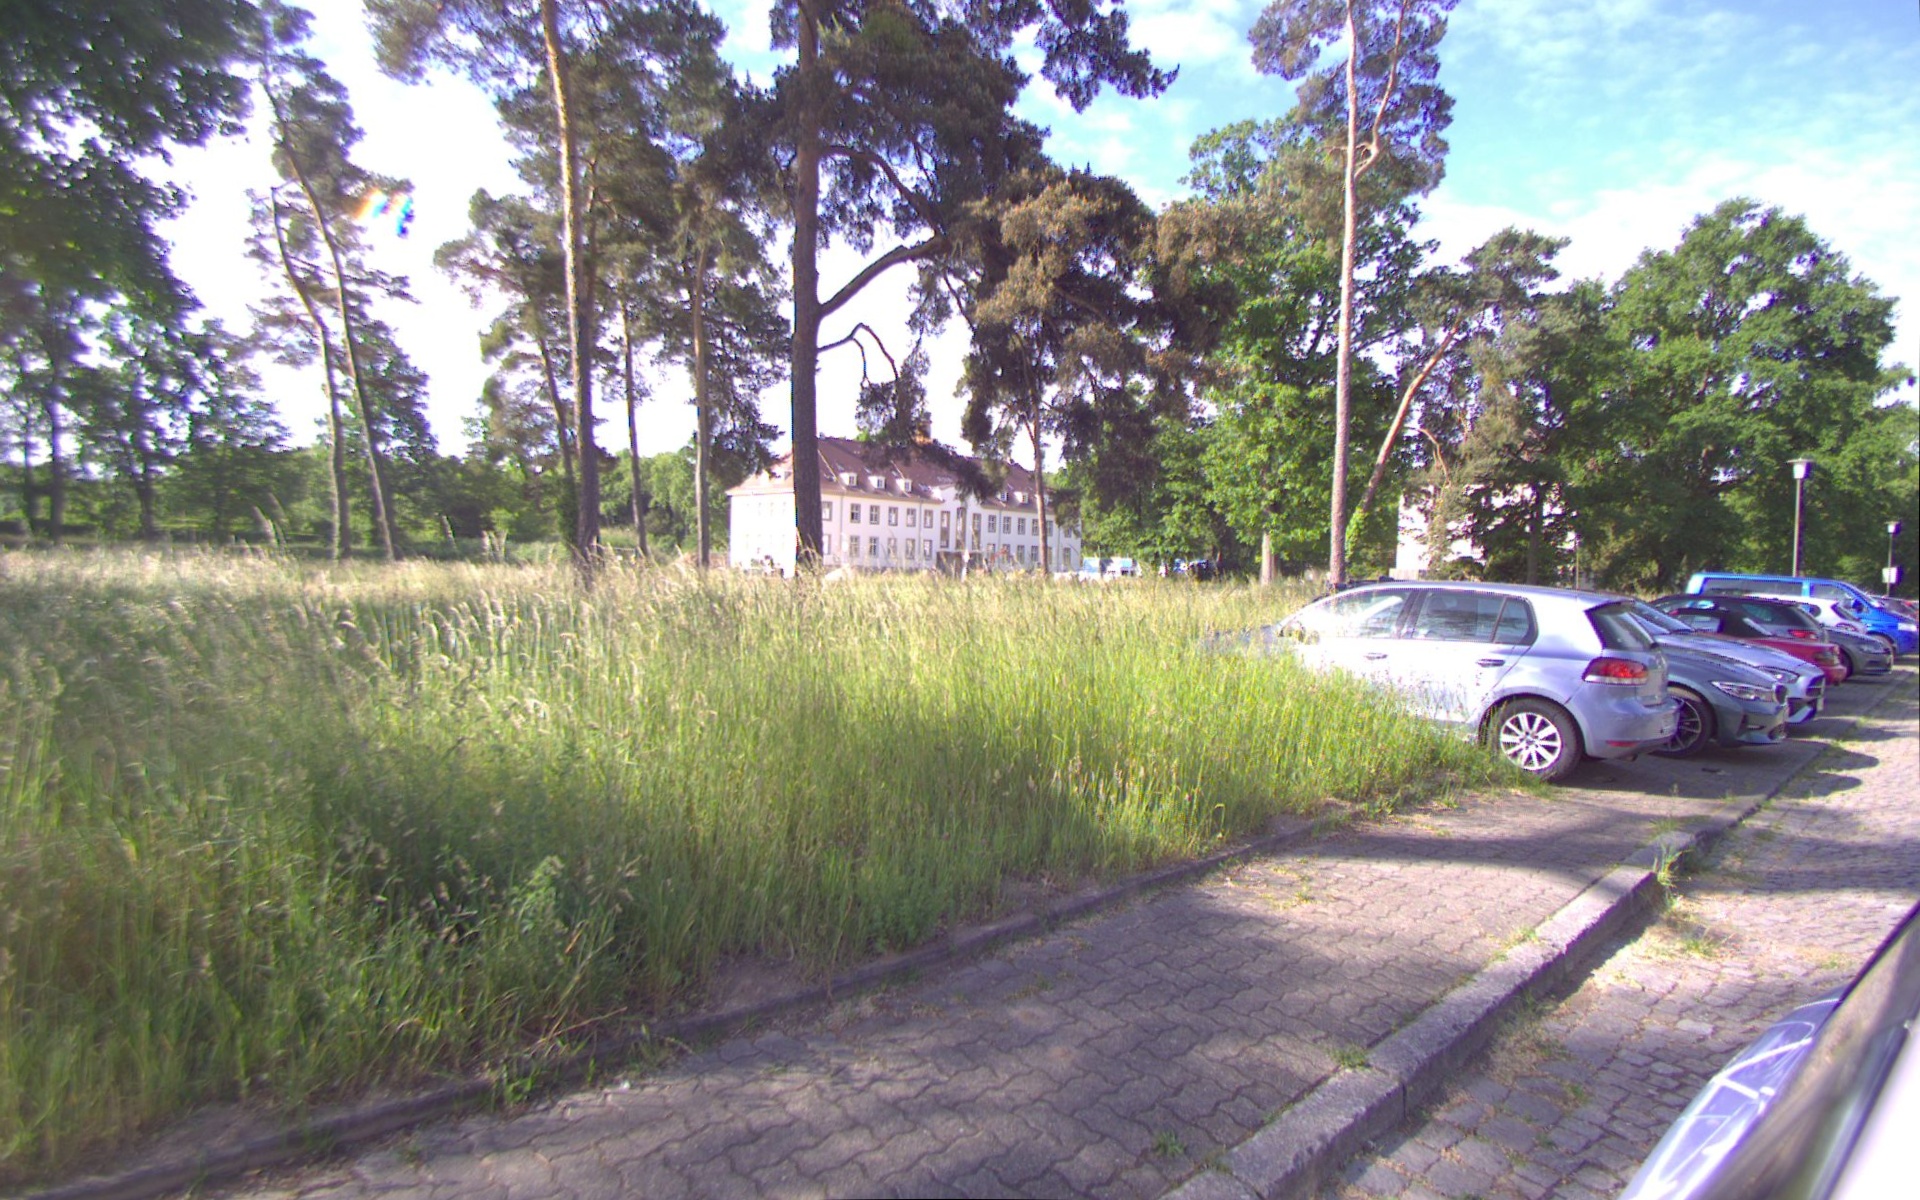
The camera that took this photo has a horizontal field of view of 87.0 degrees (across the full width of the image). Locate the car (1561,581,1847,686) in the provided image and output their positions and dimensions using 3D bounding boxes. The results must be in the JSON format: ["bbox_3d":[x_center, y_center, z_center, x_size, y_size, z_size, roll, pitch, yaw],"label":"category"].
[{"bbox_3d":[12.824,0.487,17.608,1.523,1.508,3.775,0,3,-43],"label":"car"}]

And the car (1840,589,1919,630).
[{"bbox_3d":[41.970,0.421,45.069,1.725,1.763,3.995,0,1,-40],"label":"car"}]

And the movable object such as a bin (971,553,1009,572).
[{"bbox_3d":[3.808,-4.699,127.205,1.994,2.351,4.909,3,3,43],"label":"movable object such as a bin"}]

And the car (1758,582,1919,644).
[{"bbox_3d":[27.312,0.360,31.164,1.725,1.660,3.996,0,3,-40],"label":"car"}]

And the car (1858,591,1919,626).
[{"bbox_3d":[45.533,0.381,48.137,1.725,1.635,3.996,-1,1,-38],"label":"car"}]

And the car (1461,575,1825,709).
[{"bbox_3d":[9.416,0.469,14.191,1.633,1.410,3.914,0,4,-43],"label":"car"}]

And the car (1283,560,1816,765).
[{"bbox_3d":[5.948,0.456,10.642,4.497,1.535,1.797,5,4,44],"label":"car"}]

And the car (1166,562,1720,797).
[{"bbox_3d":[4.059,0.487,9.004,1.840,1.478,4.022,0,3,-43],"label":"car"}]

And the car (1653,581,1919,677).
[{"bbox_3d":[15.469,0.471,19.090,1.478,1.508,3.629,0,2,-33],"label":"car"}]

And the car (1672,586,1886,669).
[{"bbox_3d":[17.202,0.514,21.358,1.424,1.508,3.264,0,3,-40],"label":"car"}]

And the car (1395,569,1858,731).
[{"bbox_3d":[7.983,0.454,12.470,1.796,1.419,4.418,0,4,-43],"label":"car"}]

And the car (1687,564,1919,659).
[{"bbox_3d":[21.053,0.200,24.940,1.965,2.038,4.724,0,3,-41],"label":"car"}]

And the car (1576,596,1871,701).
[{"bbox_3d":[11.435,0.644,15.300,1.396,1.271,3.352,0,3,-43],"label":"car"}]

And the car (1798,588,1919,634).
[{"bbox_3d":[34.530,0.395,38.363,1.725,1.537,3.996,0,3,-40],"label":"car"}]

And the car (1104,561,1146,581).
[{"bbox_3d":[18.033,-3.117,110.367,4.691,2.038,1.997,0,2,-42],"label":"car"}]
